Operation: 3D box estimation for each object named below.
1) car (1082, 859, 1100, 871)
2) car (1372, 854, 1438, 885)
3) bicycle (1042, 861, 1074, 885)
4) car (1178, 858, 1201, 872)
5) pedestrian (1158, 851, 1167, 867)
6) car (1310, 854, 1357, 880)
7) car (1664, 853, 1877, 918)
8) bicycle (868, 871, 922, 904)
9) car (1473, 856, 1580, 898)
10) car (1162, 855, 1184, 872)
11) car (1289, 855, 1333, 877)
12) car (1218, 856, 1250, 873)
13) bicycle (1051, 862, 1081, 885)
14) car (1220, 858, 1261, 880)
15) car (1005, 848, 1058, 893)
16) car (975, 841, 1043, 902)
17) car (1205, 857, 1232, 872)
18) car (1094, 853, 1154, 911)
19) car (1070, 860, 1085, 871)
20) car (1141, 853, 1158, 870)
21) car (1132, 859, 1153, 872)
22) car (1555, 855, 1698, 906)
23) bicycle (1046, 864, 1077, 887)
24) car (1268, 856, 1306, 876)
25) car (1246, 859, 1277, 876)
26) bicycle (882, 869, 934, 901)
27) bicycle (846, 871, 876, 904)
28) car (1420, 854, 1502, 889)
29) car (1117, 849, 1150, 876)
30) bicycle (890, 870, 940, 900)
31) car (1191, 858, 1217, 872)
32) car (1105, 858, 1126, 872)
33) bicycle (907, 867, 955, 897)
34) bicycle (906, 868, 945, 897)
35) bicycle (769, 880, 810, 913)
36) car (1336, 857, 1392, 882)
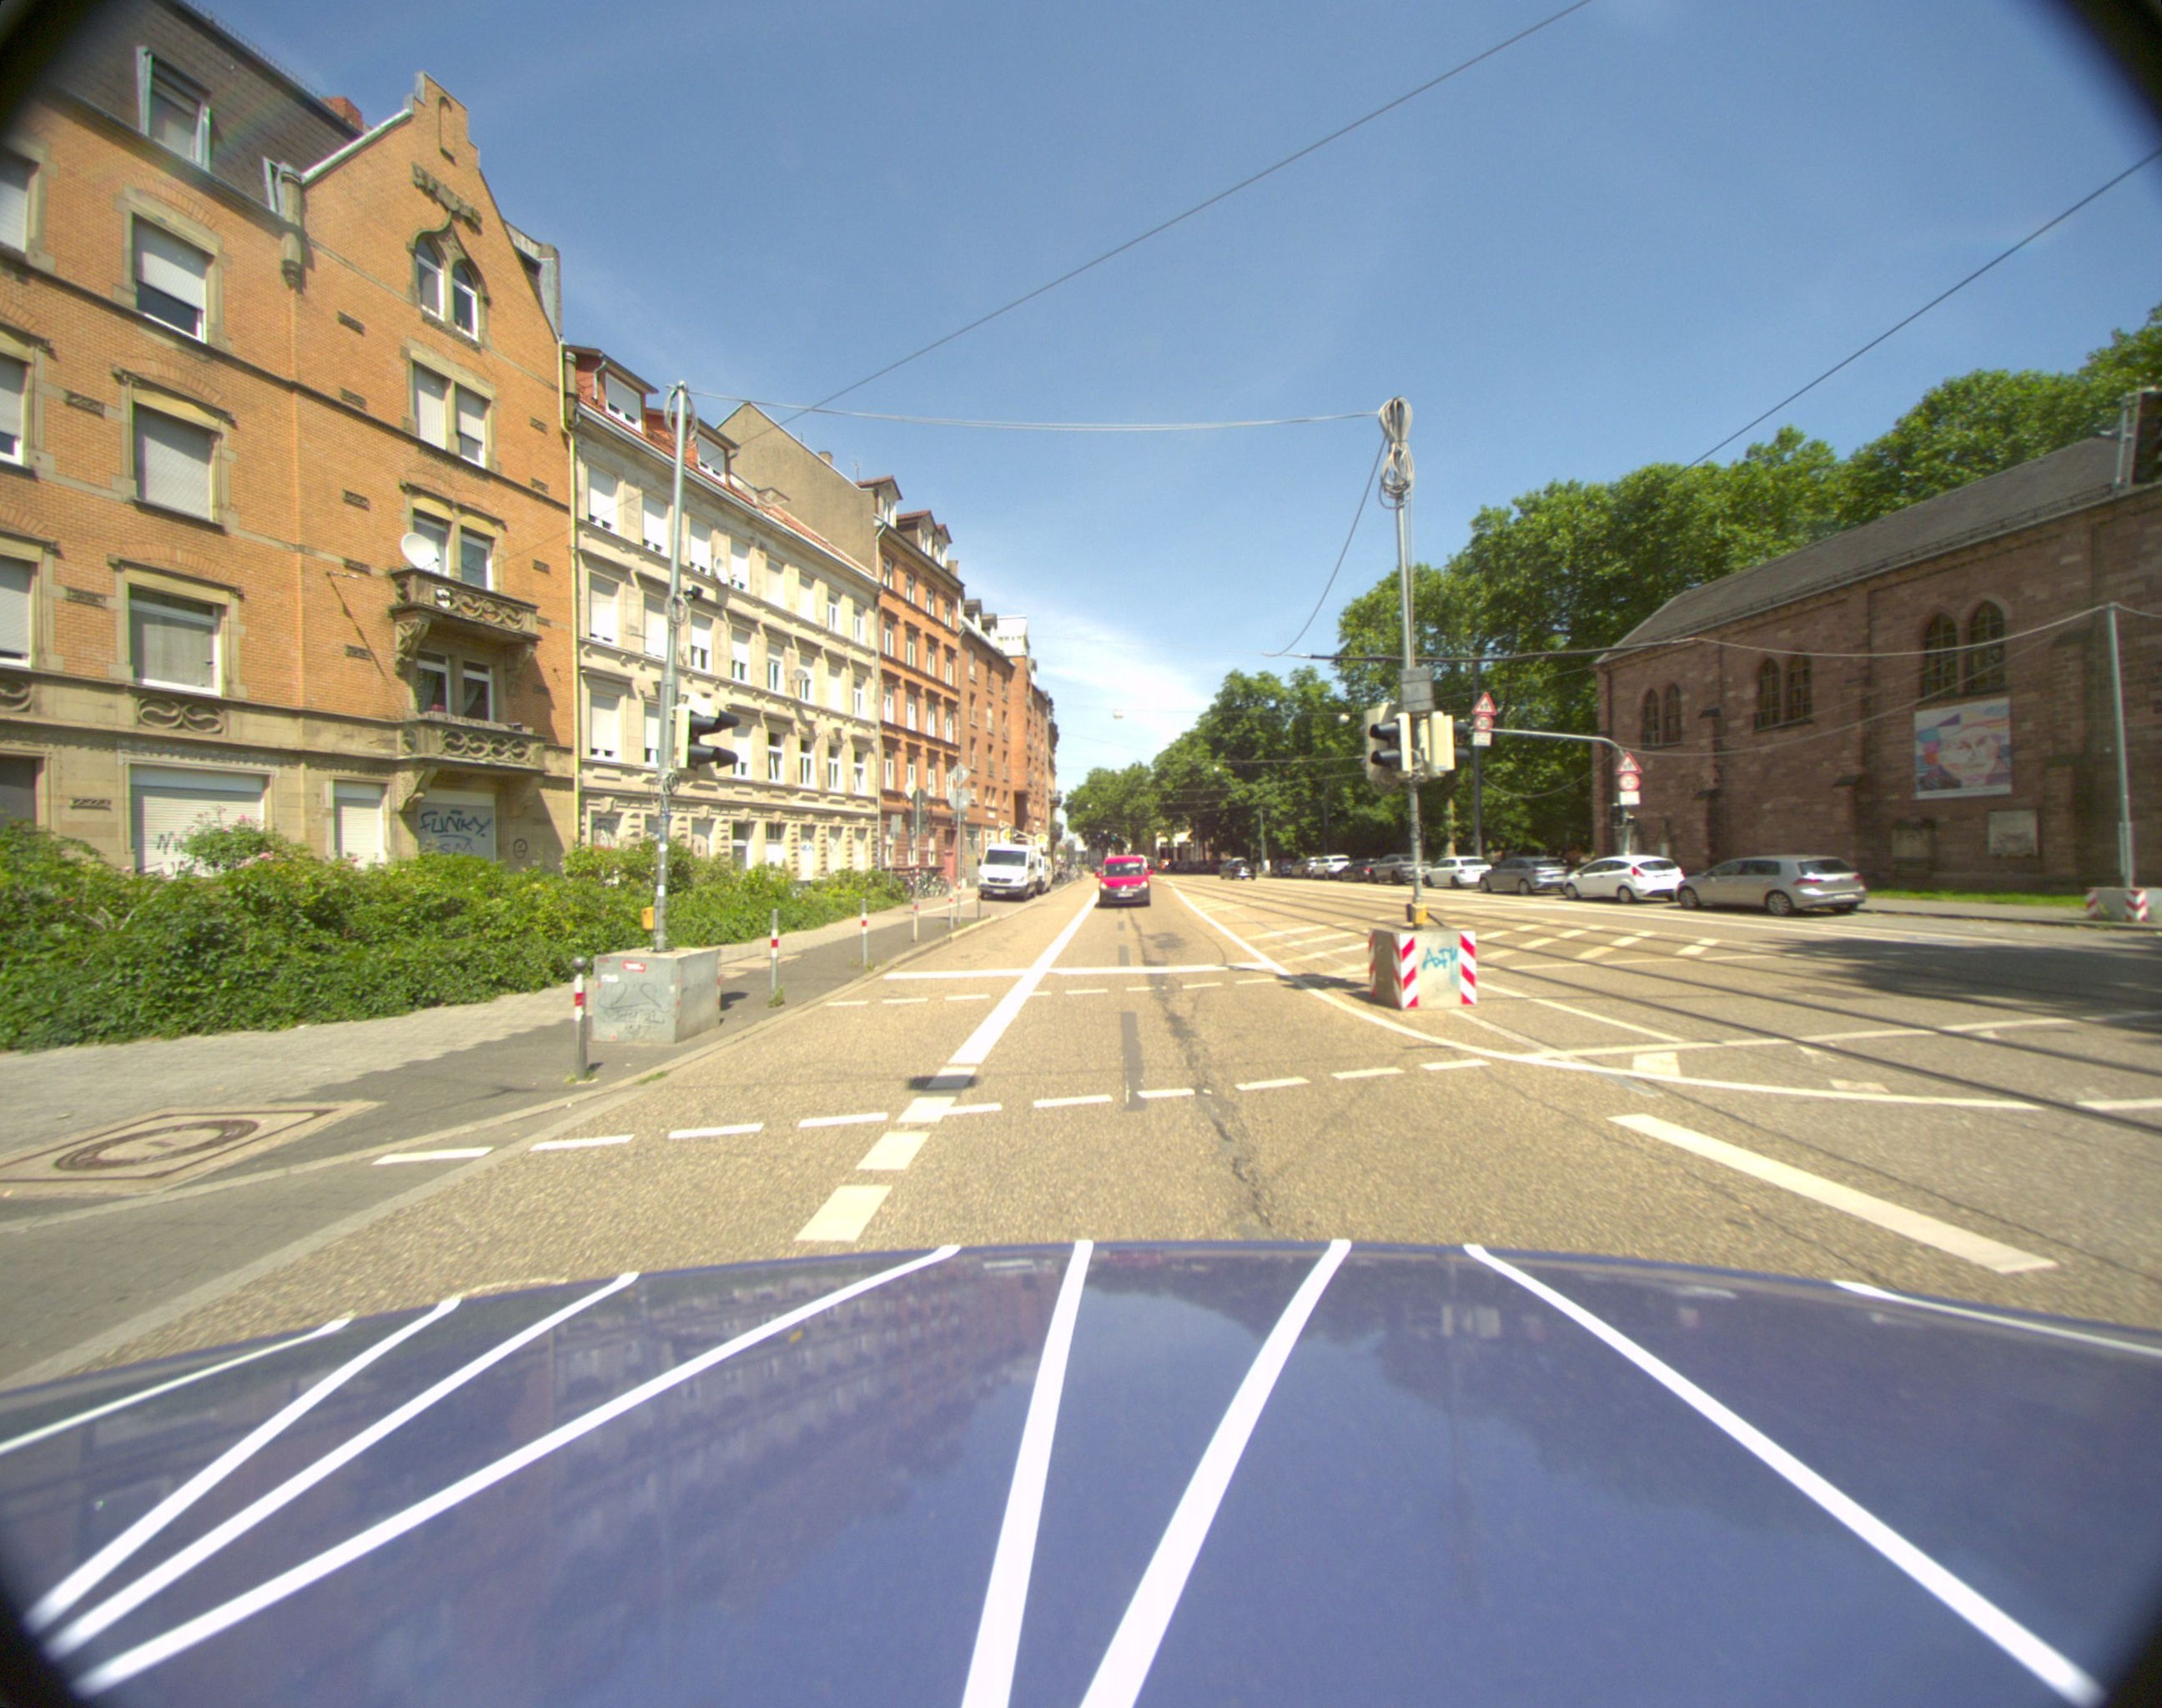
[{"bbox_3d":[1.328,1.506,102.839,1.810,1.455,3.998,-2,0,-6],"label":"car"},{"bbox_3d":[17.109,0.795,40.266,1.747,1.514,3.752,-2,0,-2],"label":"car"},{"bbox_3d":[-1.498,1.215,49.798,1.937,1.497,0.665,-2,0,15],"label":"bicycle"},{"bbox_3d":[12.853,1.262,90.446,1.747,1.506,3.816,-2,0,-6],"label":"car"},{"bbox_3d":[10.598,0.679,98.735,0.953,2.002,0.760,-2,1,1],"label":"pedestrian"},{"bbox_3d":[16.816,0.841,50.787,1.747,1.643,3.905,-2,0,0],"label":"car"},{"bbox_3d":[17.751,0.736,19.889,1.662,1.450,4.220,-2,0,-1],"label":"car"},{"bbox_3d":[-7.145,1.287,29.191,1.919,1.173,0.493,-2,1,4],"label":"bicycle"},{"bbox_3d":[17.329,0.836,29.785,1.663,1.450,4.058,-2,0,-2],"label":"car"},{"bbox_3d":[11.732,1.204,97.137,1.999,2.002,3.998,-2,0,-5],"label":"car"},{"bbox_3d":[16.776,0.867,55.649,1.747,1.489,4.187,-2,0,-2],"label":"car"},{"bbox_3d":[14.748,0.990,73.602,1.978,1.554,3.998,-2,0,-4],"label":"car"},{"bbox_3d":[-1.056,1.344,52.989,1.937,1.497,0.665,-2,0,15],"label":"bicycle"},{"bbox_3d":[11.539,1.060,55.140,1.751,1.387,4.345,-2,0,-4],"label":"car"},{"bbox_3d":[-2.463,0.790,38.952,1.998,2.123,5.273,2,0,4],"label":"car"},{"bbox_3d":[-2.948,0.686,32.475,1.998,2.317,5.409,2,0,4],"label":"car"},{"bbox_3d":[14.212,1.056,78.770,1.809,1.455,3.999,-2,0,-3],"label":"car"},{"bbox_3d":[1.513,0.914,27.234,1.859,1.823,5.167,-2,0,3],"label":"car"},{"bbox_3d":[-0.568,1.851,121.177,1.999,1.641,3.998,-2,0,-5],"label":"car"},{"bbox_3d":[9.922,1.080,109.938,1.821,2.283,3.760,-2,0,-4],"label":"car"},{"bbox_3d":[7.542,1.441,93.893,1.977,1.455,3.999,-2,0,-3],"label":"car"},{"bbox_3d":[17.578,0.801,24.745,1.662,1.450,4.058,-2,0,-1],"label":"car"},{"bbox_3d":[-1.322,1.459,51.813,1.937,1.497,0.665,-2,0,15],"label":"bicycle"},{"bbox_3d":[16.599,0.917,61.423,1.747,1.489,4.187,-2,0,-2],"label":"car"},{"bbox_3d":[15.830,1.167,66.656,1.650,1.372,3.764,-2,0,-2],"label":"car"},{"bbox_3d":[-6.865,1.236,30.199,1.919,1.173,0.493,-2,1,4],"label":"bicycle"},{"bbox_3d":[-8.729,1.309,30.163,0.492,1.173,1.921,-2,0,3],"label":"bicycle"},{"bbox_3d":[17.494,0.771,35.172,1.747,1.450,3.752,-2,0,-2],"label":"car"},{"bbox_3d":[4.140,0.654,60.417,2.166,1.926,4.854,-2,0,-1],"label":"car"},{"bbox_3d":[-6.870,1.279,31.526,1.919,1.173,0.493,-2,1,4],"label":"bicycle"},{"bbox_3d":[13.618,1.224,84.362,1.810,1.455,3.998,-2,0,-6],"label":"car"},{"bbox_3d":[3.930,1.252,87.306,1.810,1.455,3.998,-2,0,-6],"label":"car"},{"bbox_3d":[-6.435,1.206,32.680,1.919,1.173,0.493,-2,1,4],"label":"bicycle"},{"bbox_3d":[-6.980,1.278,34.181,0.491,1.173,1.924,-2,0,33],"label":"bicycle"},{"bbox_3d":[-10.085,1.455,26.347,0.456,1.016,1.771,-2,0,10],"label":"bicycle"},{"bbox_3d":[16.991,0.883,45.797,1.671,1.368,3.999,-2,0,-2],"label":"car"}]
